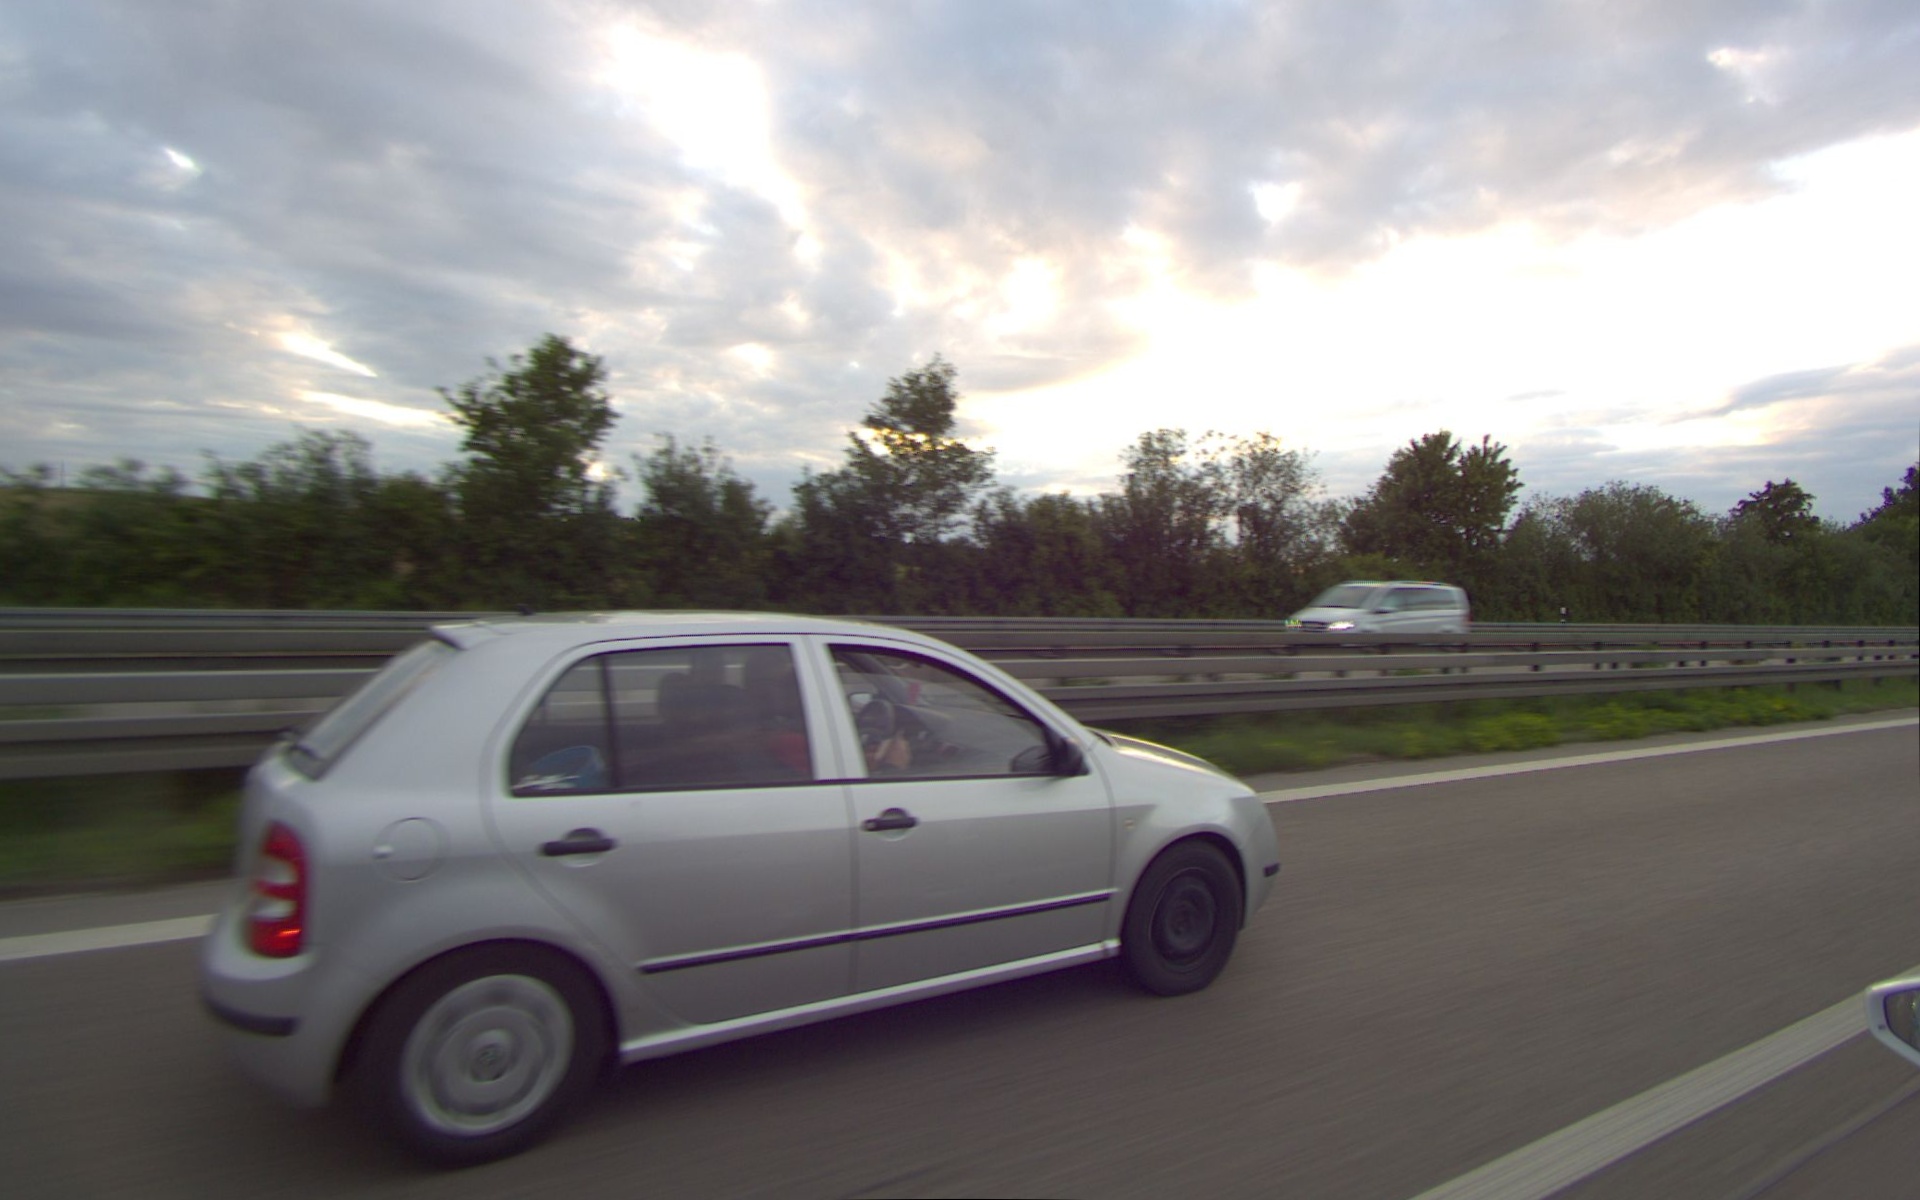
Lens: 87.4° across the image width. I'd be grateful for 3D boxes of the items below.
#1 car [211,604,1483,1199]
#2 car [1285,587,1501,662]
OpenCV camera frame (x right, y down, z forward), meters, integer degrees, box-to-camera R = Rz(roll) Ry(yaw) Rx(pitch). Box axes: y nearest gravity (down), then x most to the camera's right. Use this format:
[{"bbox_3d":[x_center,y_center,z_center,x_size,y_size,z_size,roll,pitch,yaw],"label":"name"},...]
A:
[{"bbox_3d":[-0.032,0.769,4.008,4.548,1.408,1.581,1,0,-30],"label":"car"},{"bbox_3d":[11.039,0.582,25.481,5.667,1.649,1.984,1,3,-30],"label":"car"}]
